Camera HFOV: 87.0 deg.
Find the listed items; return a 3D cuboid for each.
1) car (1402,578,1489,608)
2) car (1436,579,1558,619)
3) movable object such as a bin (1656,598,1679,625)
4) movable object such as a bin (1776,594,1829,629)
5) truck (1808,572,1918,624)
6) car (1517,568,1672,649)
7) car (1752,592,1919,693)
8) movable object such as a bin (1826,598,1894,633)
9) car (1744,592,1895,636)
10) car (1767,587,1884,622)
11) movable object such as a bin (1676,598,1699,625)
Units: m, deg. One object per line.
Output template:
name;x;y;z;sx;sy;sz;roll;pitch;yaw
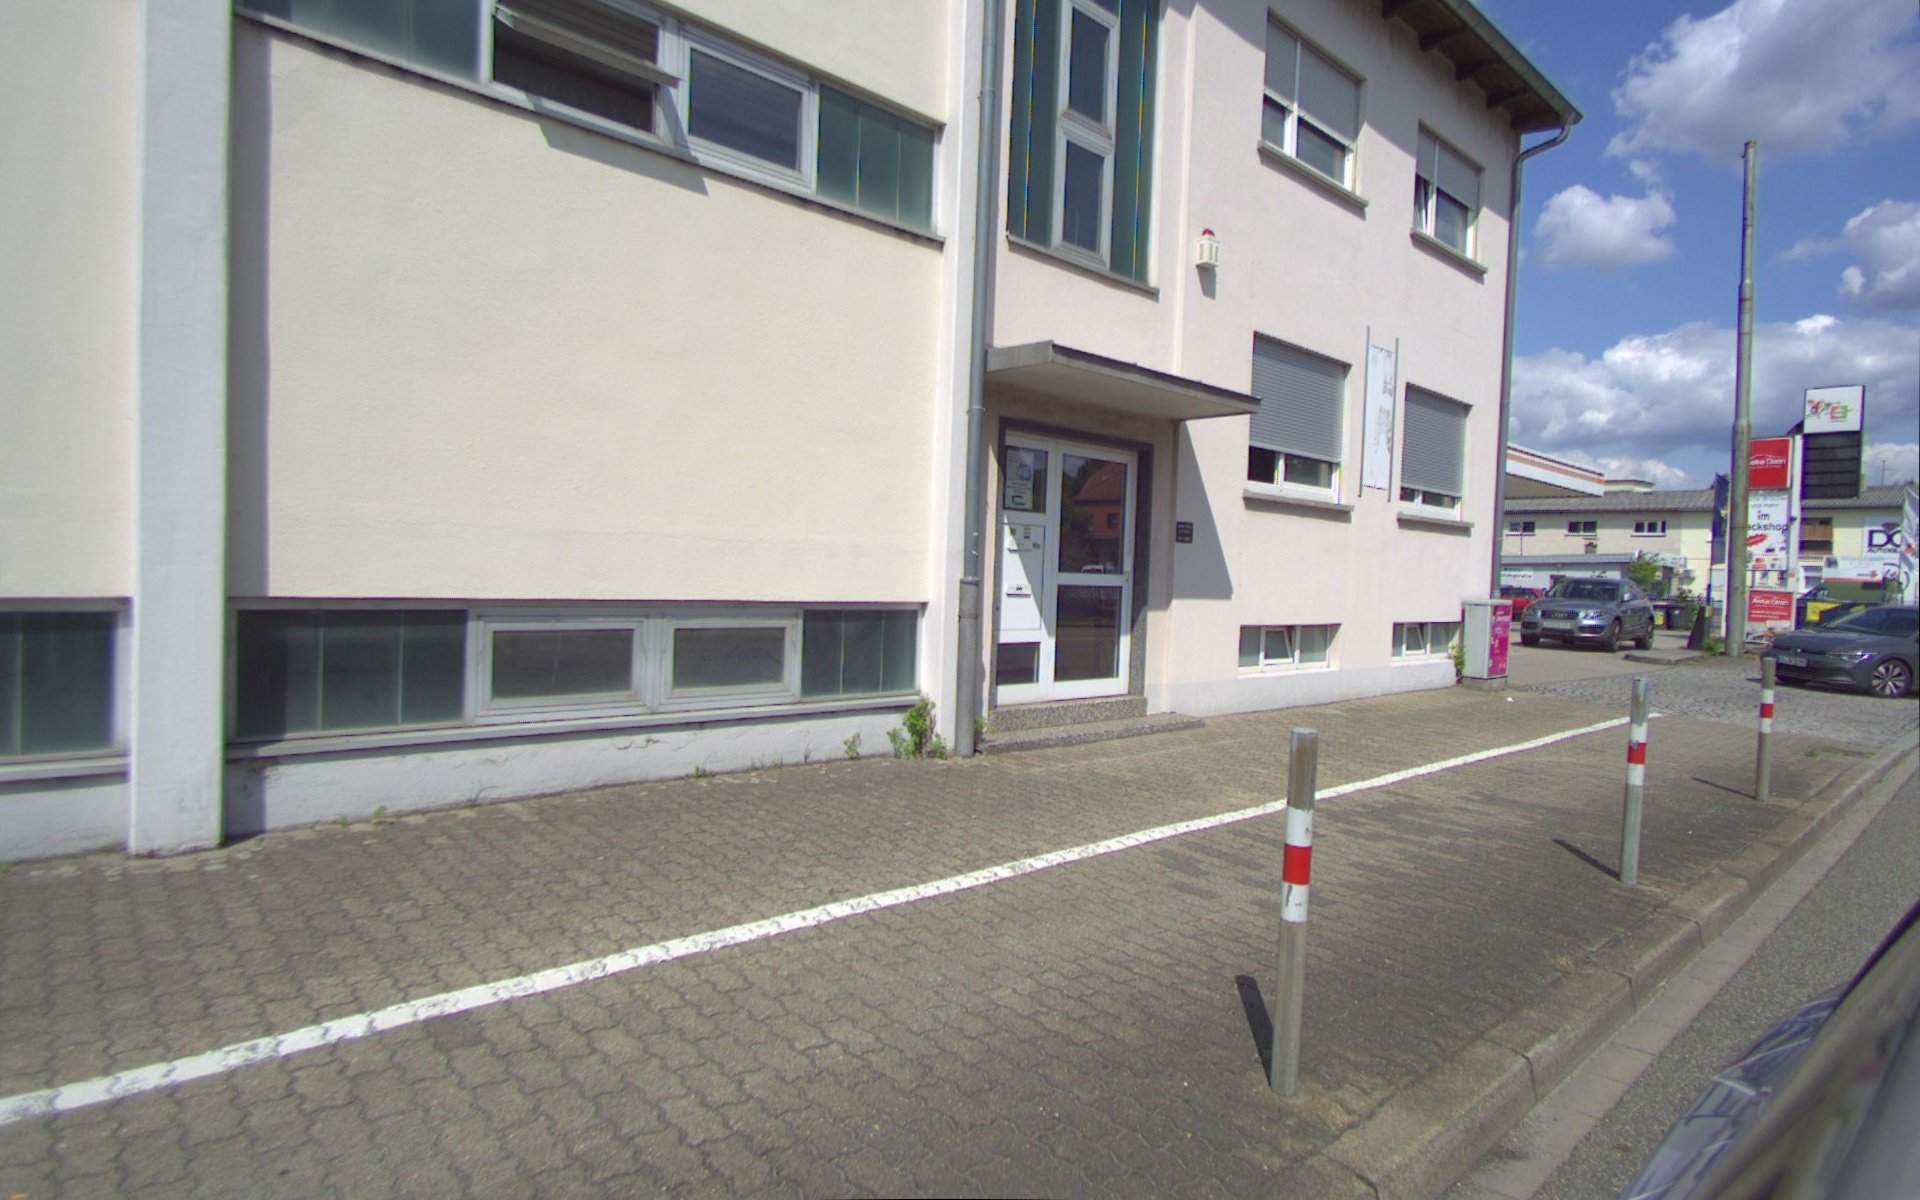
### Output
car;22.699;-0.347;47.377;1.461;1.240;3.310;0;4;-39
car;22.465;-0.075;42.478;1.740;1.442;4.145;0;4;-39
movable object such as a bin;27.639;0.431;39.538;0.695;1.023;0.581;0;1;-43
movable object such as a bin;35.824;0.460;43.026;1.735;1.427;1.534;0;1;-42
truck;48.653;-0.133;54.559;2.071;2.694;4.180;0;1;-40
car;14.879;0.150;23.630;4.538;1.645;1.948;0;3;-44
car;15.372;0.703;16.080;4.293;1.435;1.746;3;1;-5
movable object such as a bin;37.431;0.608;42.098;1.679;1.364;1.966;0;1;-42
car;32.431;0.476;38.279;1.616;1.425;4.067;0;3;-35
car;41.046;0.187;48.084;1.592;1.481;3.918;0;2;-25
movable object such as a bin;28.058;0.441;39.026;0.695;1.023;0.581;0;1;-43
